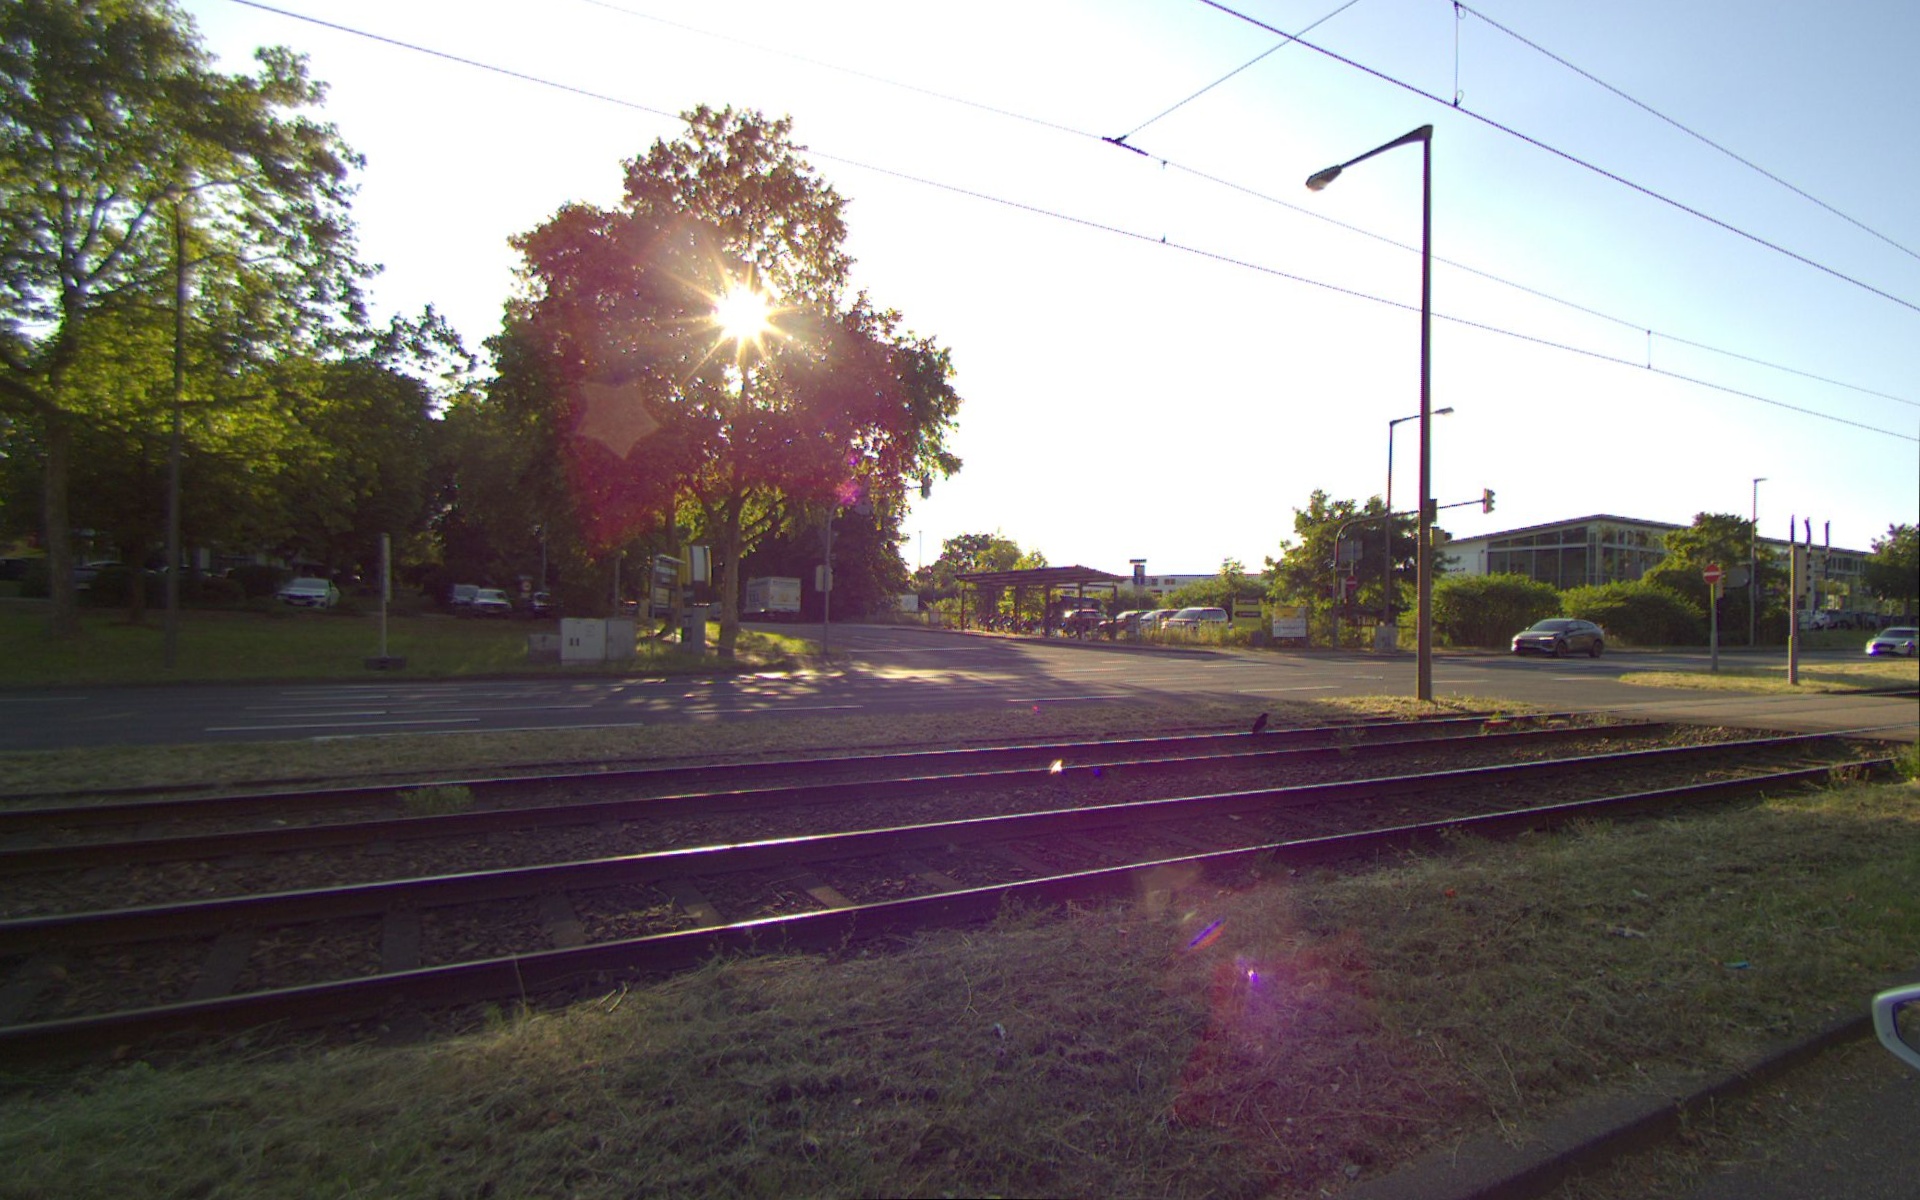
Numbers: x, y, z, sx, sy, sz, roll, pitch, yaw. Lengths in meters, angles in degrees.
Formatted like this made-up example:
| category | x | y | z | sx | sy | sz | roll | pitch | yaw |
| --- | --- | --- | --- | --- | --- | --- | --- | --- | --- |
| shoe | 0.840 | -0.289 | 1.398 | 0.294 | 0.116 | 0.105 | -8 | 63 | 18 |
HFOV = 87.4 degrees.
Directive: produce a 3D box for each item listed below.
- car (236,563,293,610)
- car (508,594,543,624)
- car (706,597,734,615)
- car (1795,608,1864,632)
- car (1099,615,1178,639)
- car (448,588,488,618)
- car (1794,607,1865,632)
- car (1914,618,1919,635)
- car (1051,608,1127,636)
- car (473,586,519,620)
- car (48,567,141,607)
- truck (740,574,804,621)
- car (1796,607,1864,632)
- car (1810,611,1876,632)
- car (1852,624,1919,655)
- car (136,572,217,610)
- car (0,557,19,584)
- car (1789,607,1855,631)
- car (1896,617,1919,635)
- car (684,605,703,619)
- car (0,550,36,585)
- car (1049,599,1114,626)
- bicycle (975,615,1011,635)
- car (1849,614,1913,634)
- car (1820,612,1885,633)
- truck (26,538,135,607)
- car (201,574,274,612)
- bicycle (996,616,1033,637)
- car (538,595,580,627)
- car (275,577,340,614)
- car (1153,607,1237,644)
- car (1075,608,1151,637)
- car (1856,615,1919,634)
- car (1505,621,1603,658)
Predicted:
| category | x | y | z | sx | sy | sz | roll | pitch | yaw |
| --- | --- | --- | --- | --- | --- | --- | --- | --- | --- |
| car | -37.303 | -0.729 | 54.001 | 2.138 | 2.334 | 4.369 | 2 | 0 | -31 |
| car | -26.225 | 0.524 | 60.677 | 1.836 | 1.637 | 4.036 | 2 | 0 | -23 |
| car | -22.705 | 0.547 | 95.018 | 1.711 | 1.603 | 4.028 | 1 | 0 | -27 |
| car | 66.719 | 1.501 | 77.166 | 3.940 | 1.727 | 1.735 | 1 | 0 | 40 |
| car | 9.933 | 1.498 | 55.862 | 4.123 | 1.284 | 1.853 | 1 | 0 | -30 |
| car | -28.579 | 0.147 | 58.488 | 1.836 | 1.637 | 4.036 | 2 | 0 | -23 |
| car | 65.173 | 1.451 | 75.366 | 3.940 | 1.727 | 1.735 | 1 | 0 | 40 |
| car | 91.291 | 2.511 | 93.018 | 1.725 | 1.642 | 3.962 | 1 | 0 | -34 |
| car | 7.710 | 1.303 | 59.988 | 4.123 | 1.604 | 1.968 | 1 | 0 | -30 |
| car | -22.941 | 0.128 | 49.582 | 1.916 | 1.530 | 4.071 | 2 | 0 | -26 |
| car | -36.093 | -0.537 | 42.014 | 1.916 | 1.530 | 4.071 | 2 | 0 | -26 |
| truck | -15.053 | -0.242 | 79.783 | 2.782 | 3.520 | 8.291 | 1 | 0 | -27 |
| car | 68.357 | 1.500 | 78.978 | 3.940 | 1.840 | 1.735 | 1 | 0 | 40 |
| car | 71.983 | 1.756 | 81.939 | 3.940 | 1.577 | 1.735 | 1 | 0 | 40 |
| car | 48.294 | 2.025 | 51.886 | 4.036 | 1.501 | 1.856 | 1 | 0 | -25 |
| car | -33.962 | -0.375 | 43.677 | 1.916 | 1.530 | 4.071 | 2 | 0 | -26 |
| car | -58.351 | -1.823 | 59.135 | 1.912 | 1.530 | 4.079 | 2 | 0 | 40 |
| car | 69.319 | 1.517 | 80.823 | 3.940 | 1.840 | 1.735 | 1 | 0 | 40 |
| car | 88.376 | 2.395 | 91.738 | 1.725 | 1.642 | 3.962 | 1 | 0 | -34 |
| car | -33.306 | 1.542 | 125.514 | 1.887 | 1.602 | 4.036 | 2 | 0 | -21 |
| car | -53.866 | -1.857 | 56.375 | 2.274 | 1.875 | 5.220 | 2 | 0 | -36 |
| car | 9.281 | 0.951 | 76.659 | 4.715 | 2.041 | 1.853 | 1 | 0 | -30 |
| bicycle | 1.922 | 1.465 | 59.043 | 2.004 | 1.119 | 0.777 | 2 | 0 | -30 |
| car | 79.607 | 2.074 | 86.888 | 3.940 | 1.577 | 1.735 | 1 | 0 | 40 |
| car | 74.202 | 1.852 | 83.607 | 3.940 | 1.577 | 1.735 | 1 | 0 | 40 |
| truck | -44.519 | -1.319 | 51.058 | 2.468 | 3.209 | 6.187 | 2 | 0 | -26 |
| car | -32.119 | -0.302 | 44.749 | 1.916 | 1.530 | 4.071 | 2 | 0 | -26 |
| bicycle | 3.063 | 1.487 | 56.406 | 2.004 | 1.119 | 0.777 | 2 | 0 | -30 |
| car | -20.446 | 0.540 | 51.131 | 1.604 | 1.477 | 3.878 | 2 | 0 | -27 |
| car | -29.438 | -0.201 | 45.431 | 1.916 | 1.530 | 4.071 | 2 | 0 | -26 |
| car | 12.356 | 1.337 | 52.730 | 4.123 | 1.846 | 1.853 | 1 | 0 | -30 |
| car | 8.814 | 1.296 | 57.793 | 4.123 | 1.604 | 1.853 | 1 | 0 | -30 |
| car | 81.760 | 2.162 | 88.506 | 1.728 | 1.576 | 3.957 | 1 | 0 | -37 |
| car | 25.995 | 1.689 | 43.946 | 4.120 | 1.501 | 1.854 | 1 | 0 | -29 |
